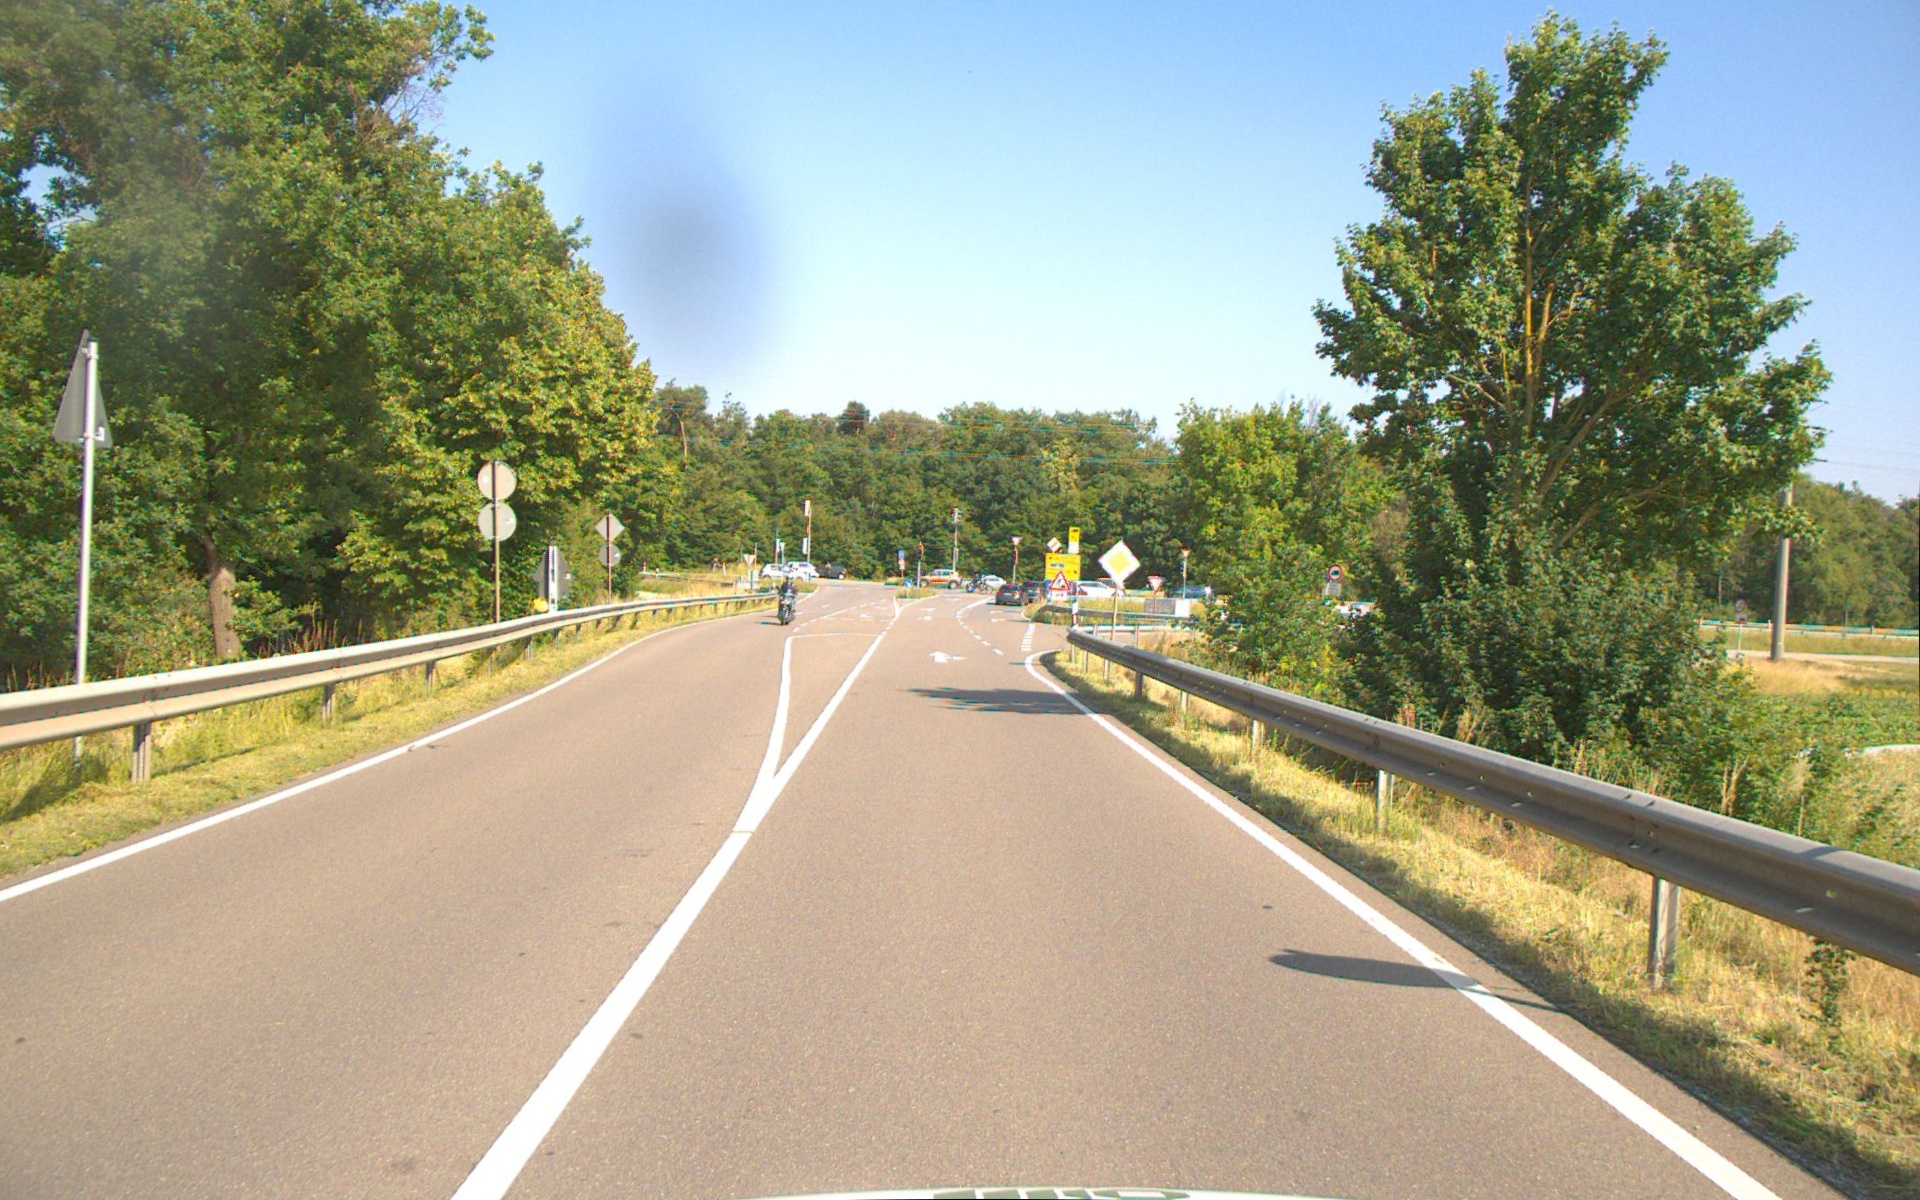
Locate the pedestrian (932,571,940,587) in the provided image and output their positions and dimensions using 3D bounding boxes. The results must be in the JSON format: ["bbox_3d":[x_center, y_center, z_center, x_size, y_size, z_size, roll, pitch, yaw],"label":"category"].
[{"bbox_3d":[-2.177,-1.900,150.477,0.514,1.415,0.512,1,0,34],"label":"pedestrian"}]

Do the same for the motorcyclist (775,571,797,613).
[{"bbox_3d":[-5.992,-0.264,57.024,0.684,1.432,0.784,1,0,0],"label":"motorcyclist"}]

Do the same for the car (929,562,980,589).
[{"bbox_3d":[-0.480,-2.011,134.778,3.913,2.048,1.797,2,2,-9],"label":"car"}]

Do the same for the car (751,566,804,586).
[{"bbox_3d":[-14.530,-1.908,131.887,4.148,1.485,1.997,0,1,-8],"label":"car"}]

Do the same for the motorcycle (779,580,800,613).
[{"bbox_3d":[-7.088,-0.150,68.801,0.702,1.331,2.180,1,1,-2],"label":"motorcycle"}]

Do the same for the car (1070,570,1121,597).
[{"bbox_3d":[11.086,-1.380,135.737,3.909,2.048,1.799,2,2,-5],"label":"car"}]

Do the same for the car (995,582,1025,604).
[{"bbox_3d":[3.447,-0.471,112.610,1.761,1.422,4.003,-1,0,5],"label":"car"}]

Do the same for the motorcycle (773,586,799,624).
[{"bbox_3d":[-5.996,0.171,57.081,0.702,1.272,2.078,1,1,-1],"label":"motorcycle"}]

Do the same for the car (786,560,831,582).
[{"bbox_3d":[-14.463,-2.739,157.685,3.931,2.049,1.784,0,1,-22],"label":"car"}]

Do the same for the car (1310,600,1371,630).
[{"bbox_3d":[28.531,1.102,123.994,3.926,1.909,1.882,6,2,39],"label":"car"}]

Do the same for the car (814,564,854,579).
[{"bbox_3d":[-12.575,-2.825,164.780,3.911,1.447,1.793,0,1,-7],"label":"car"}]

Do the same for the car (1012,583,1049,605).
[{"bbox_3d":[5.129,-0.429,119.945,1.761,1.527,4.003,3,1,16],"label":"car"}]

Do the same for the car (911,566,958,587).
[{"bbox_3d":[-2.230,-2.039,144.704,3.914,1.780,1.759,0,1,-10],"label":"car"}]
